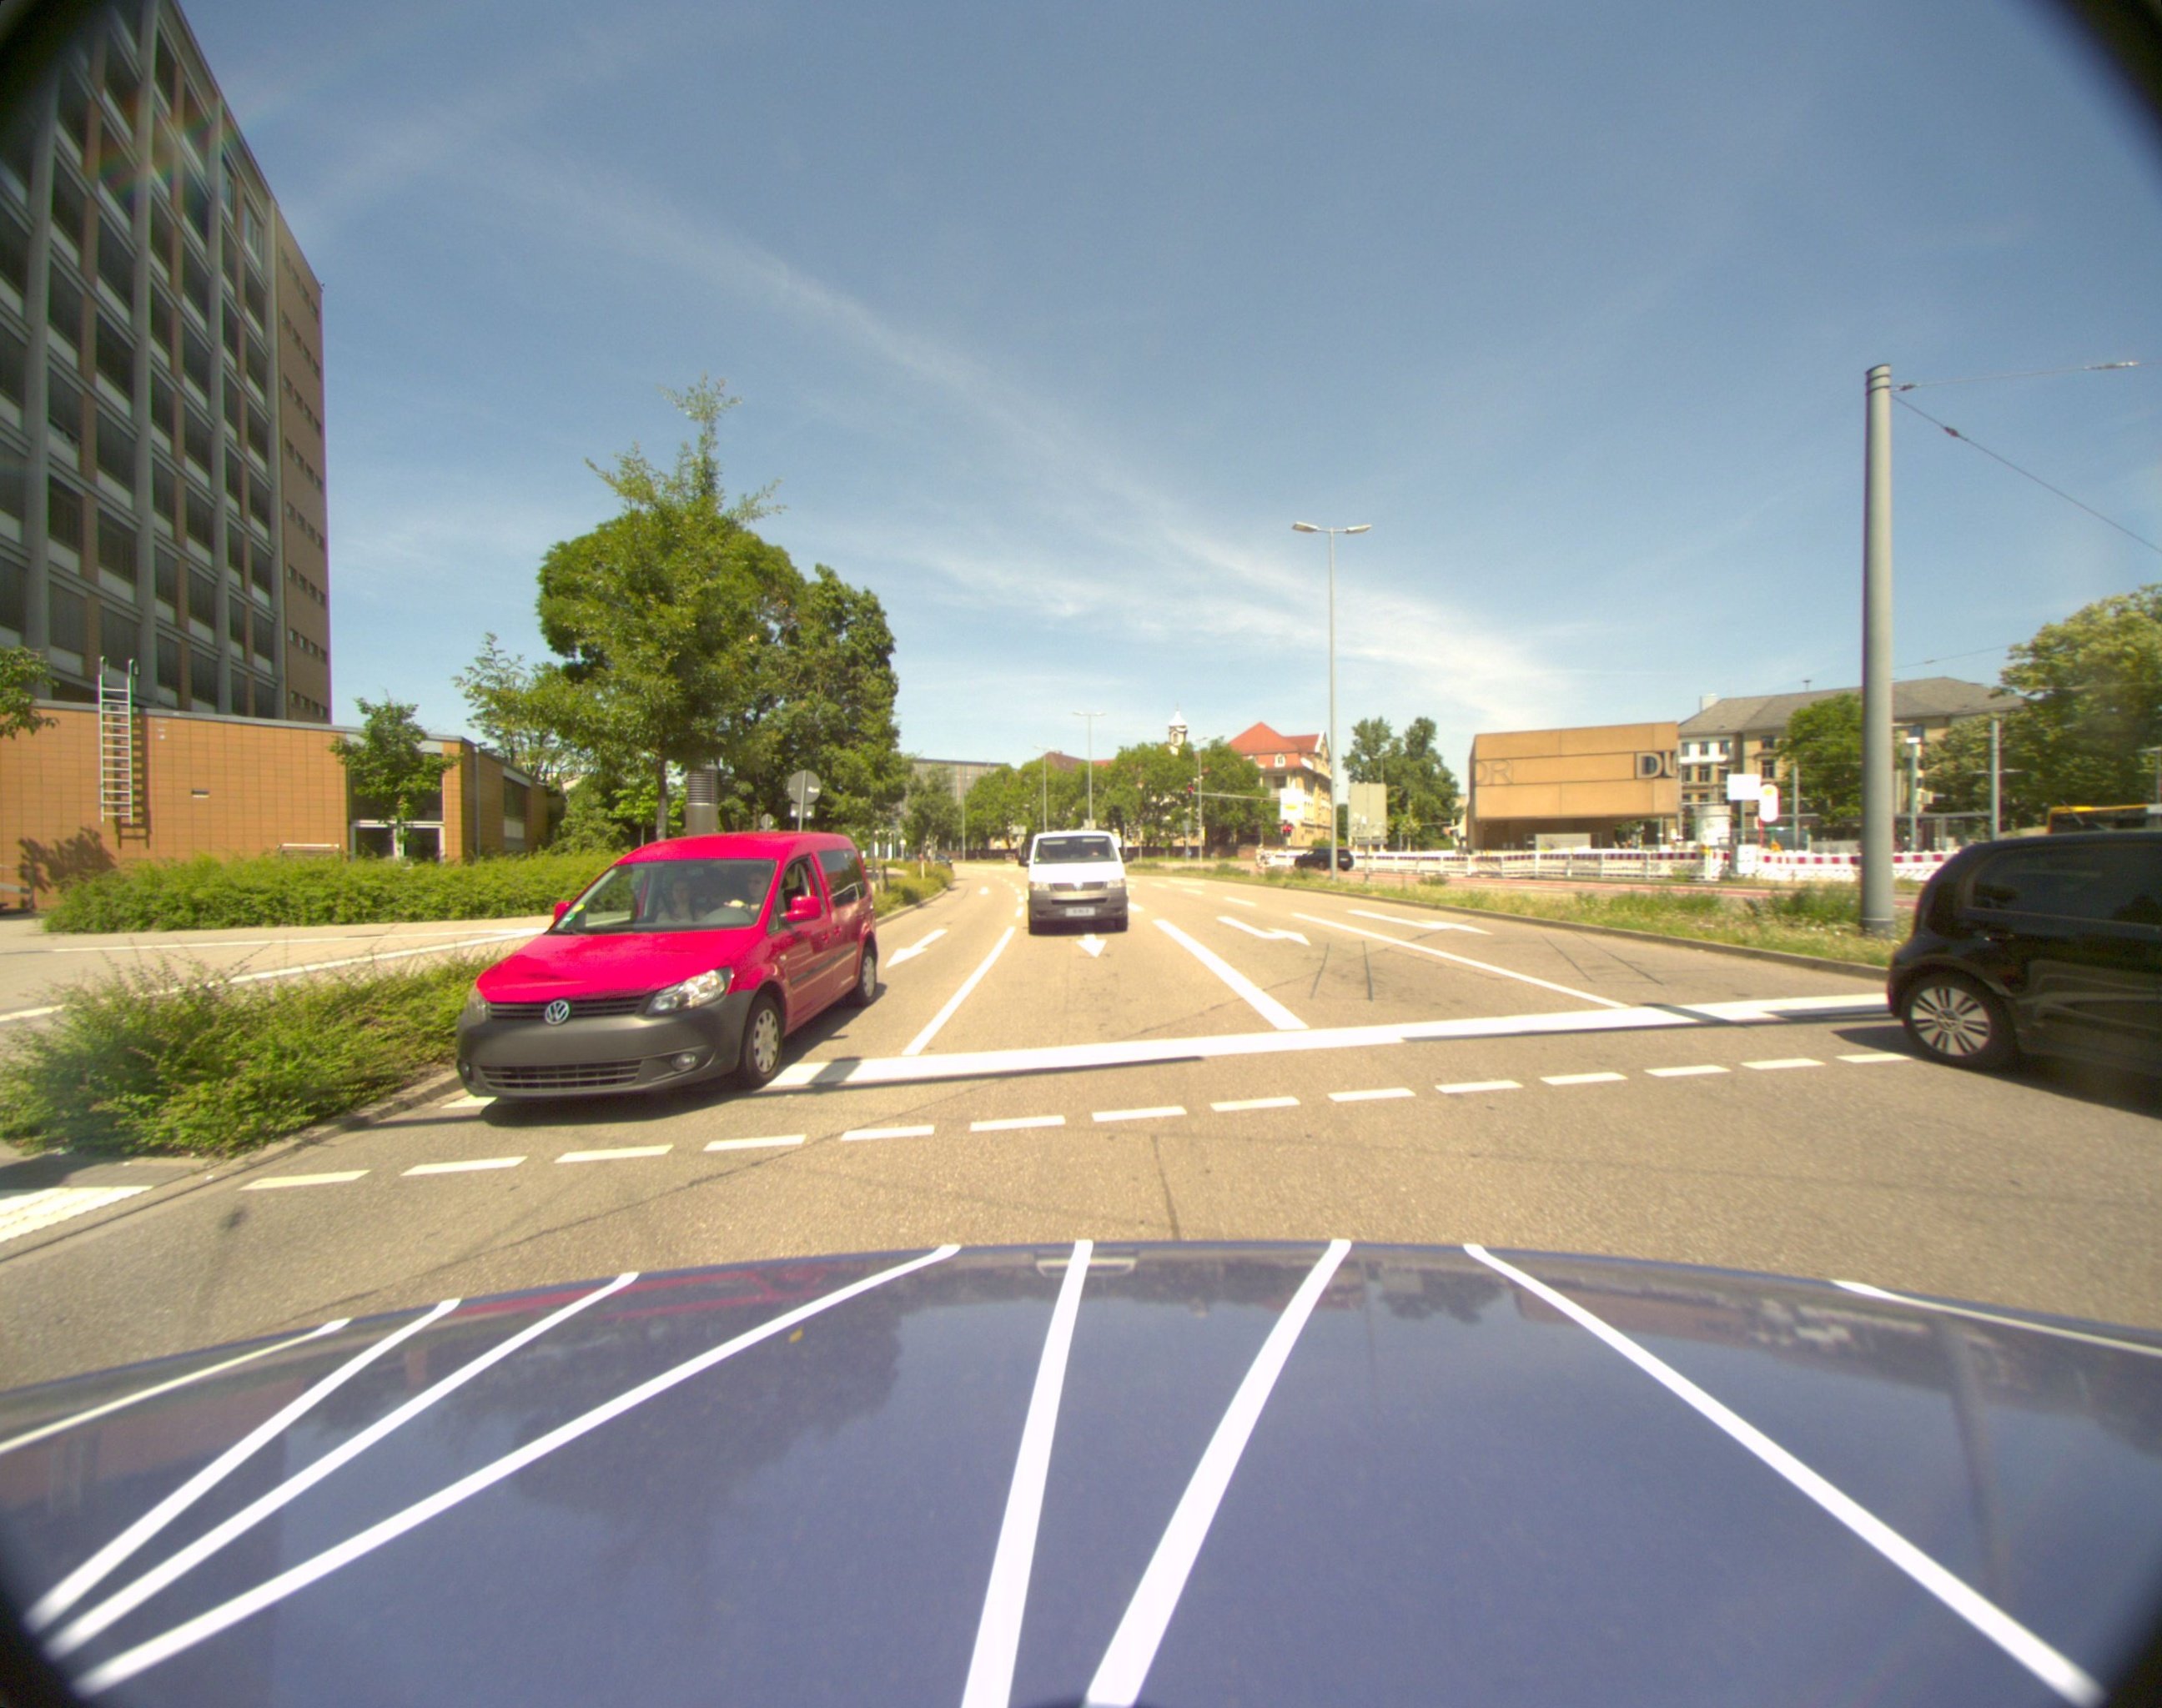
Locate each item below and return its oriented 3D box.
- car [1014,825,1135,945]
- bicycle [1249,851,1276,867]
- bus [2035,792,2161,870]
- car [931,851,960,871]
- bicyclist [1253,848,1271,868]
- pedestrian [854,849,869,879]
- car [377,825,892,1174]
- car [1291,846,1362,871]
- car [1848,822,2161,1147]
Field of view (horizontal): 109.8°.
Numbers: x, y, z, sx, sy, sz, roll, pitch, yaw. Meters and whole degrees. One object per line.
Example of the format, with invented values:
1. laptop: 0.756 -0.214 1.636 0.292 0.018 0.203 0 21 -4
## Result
1. car: -0.155 0.503 15.304 1.971 1.958 4.847 -2 1 -1
2. bicycle: 12.722 0.349 53.344 0.879 1.066 2.229 -3 1 -16
3. bus: 43.770 -0.922 29.925 2.849 2.998 12.242 0 0 27
4. car: -13.938 0.718 77.731 2.002 2.002 3.992 -1 0 -24
5. bicyclist: 12.672 0.246 53.225 0.587 1.348 1.437 -3 2 -16
6. pedestrian: -13.656 0.618 47.266 0.728 1.787 0.613 -1 1 -1
7. car: -2.975 0.776 6.395 1.655 1.848 4.545 -2 0 -1
8. car: 15.357 0.260 47.805 2.001 1.456 4.840 -1 0 -13
9. car: 6.086 0.623 3.305 1.748 1.567 3.737 -1 0 0
